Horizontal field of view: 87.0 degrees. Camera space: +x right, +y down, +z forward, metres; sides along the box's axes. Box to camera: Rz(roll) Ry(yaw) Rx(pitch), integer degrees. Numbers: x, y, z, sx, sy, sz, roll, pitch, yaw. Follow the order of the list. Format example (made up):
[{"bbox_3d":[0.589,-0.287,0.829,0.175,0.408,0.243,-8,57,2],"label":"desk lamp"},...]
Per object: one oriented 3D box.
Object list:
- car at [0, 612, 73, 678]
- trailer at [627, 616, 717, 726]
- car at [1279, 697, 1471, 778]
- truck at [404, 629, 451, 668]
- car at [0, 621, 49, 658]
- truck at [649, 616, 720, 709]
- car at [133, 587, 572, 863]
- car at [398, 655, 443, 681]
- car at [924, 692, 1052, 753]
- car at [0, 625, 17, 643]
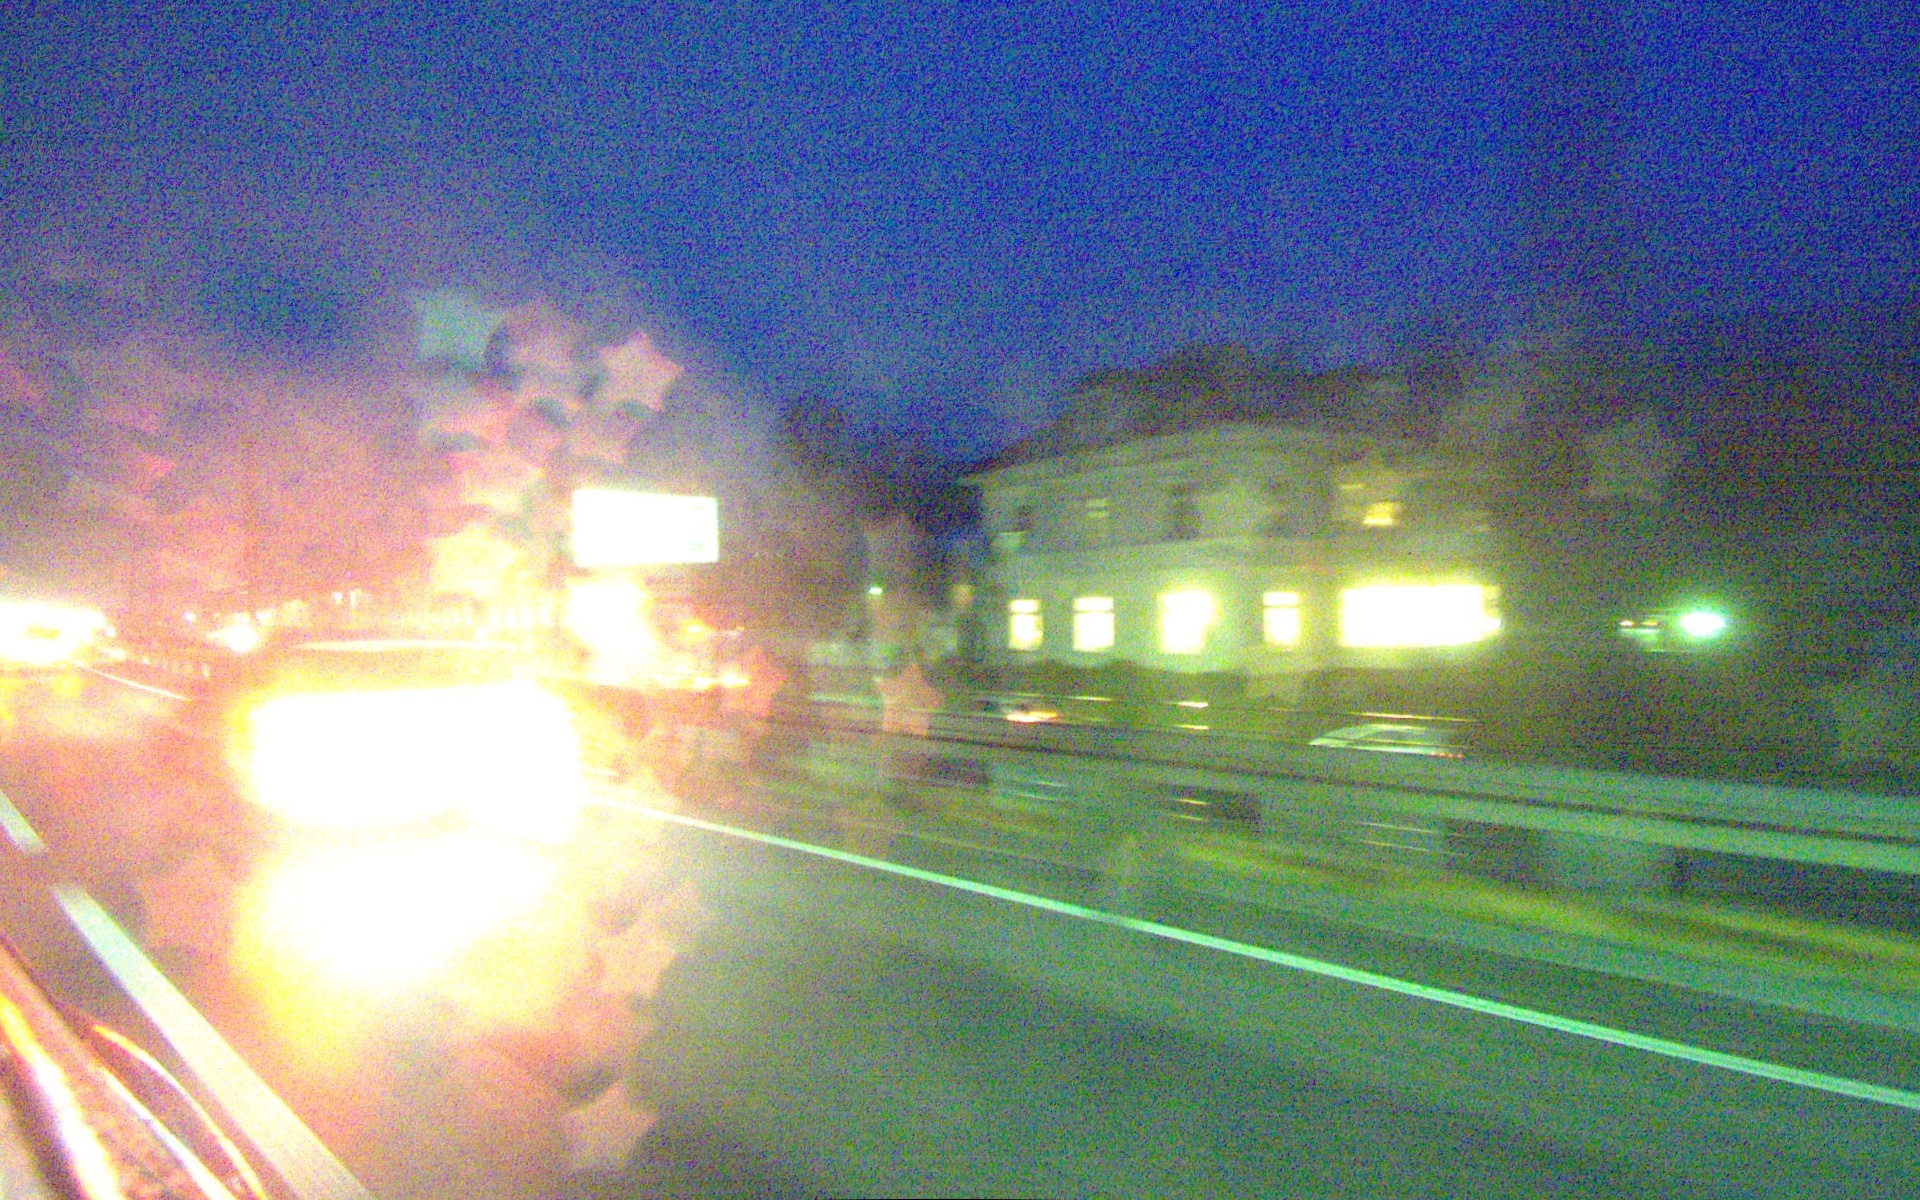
[{"bbox_3d":[-27.682,1.273,29.784,4.596,1.820,1.971,-1,-1,43],"label":"car"},{"bbox_3d":[-14.347,3.280,51.280,3.284,4.832,11.580,0,-1,-10],"label":"trailer"},{"bbox_3d":[10.684,3.480,26.220,4.288,1.582,1.790,-1,-1,39],"label":"car"},{"bbox_3d":[-51.108,4.568,97.030,2.720,3.509,8.123,0,-1,-37],"label":"truck"},{"bbox_3d":[-45.399,1.872,48.927,4.294,1.688,1.788,-1,-1,45],"label":"car"},{"bbox_3d":[-15.374,3.350,56.971,3.284,4.832,7.335,0,-1,-10],"label":"truck"},{"bbox_3d":[-5.044,0.781,8.132,4.374,1.635,1.770,-1,-2,41],"label":"car"},{"bbox_3d":[-38.708,4.847,72.578,1.786,1.688,4.297,0,-1,-43],"label":"car"},{"bbox_3d":[0.919,4.192,35.276,4.289,1.688,1.790,-1,-1,40],"label":"car"},{"bbox_3d":[-91.367,3.248,96.592,1.797,1.586,4.112,0,-1,-41],"label":"car"}]
